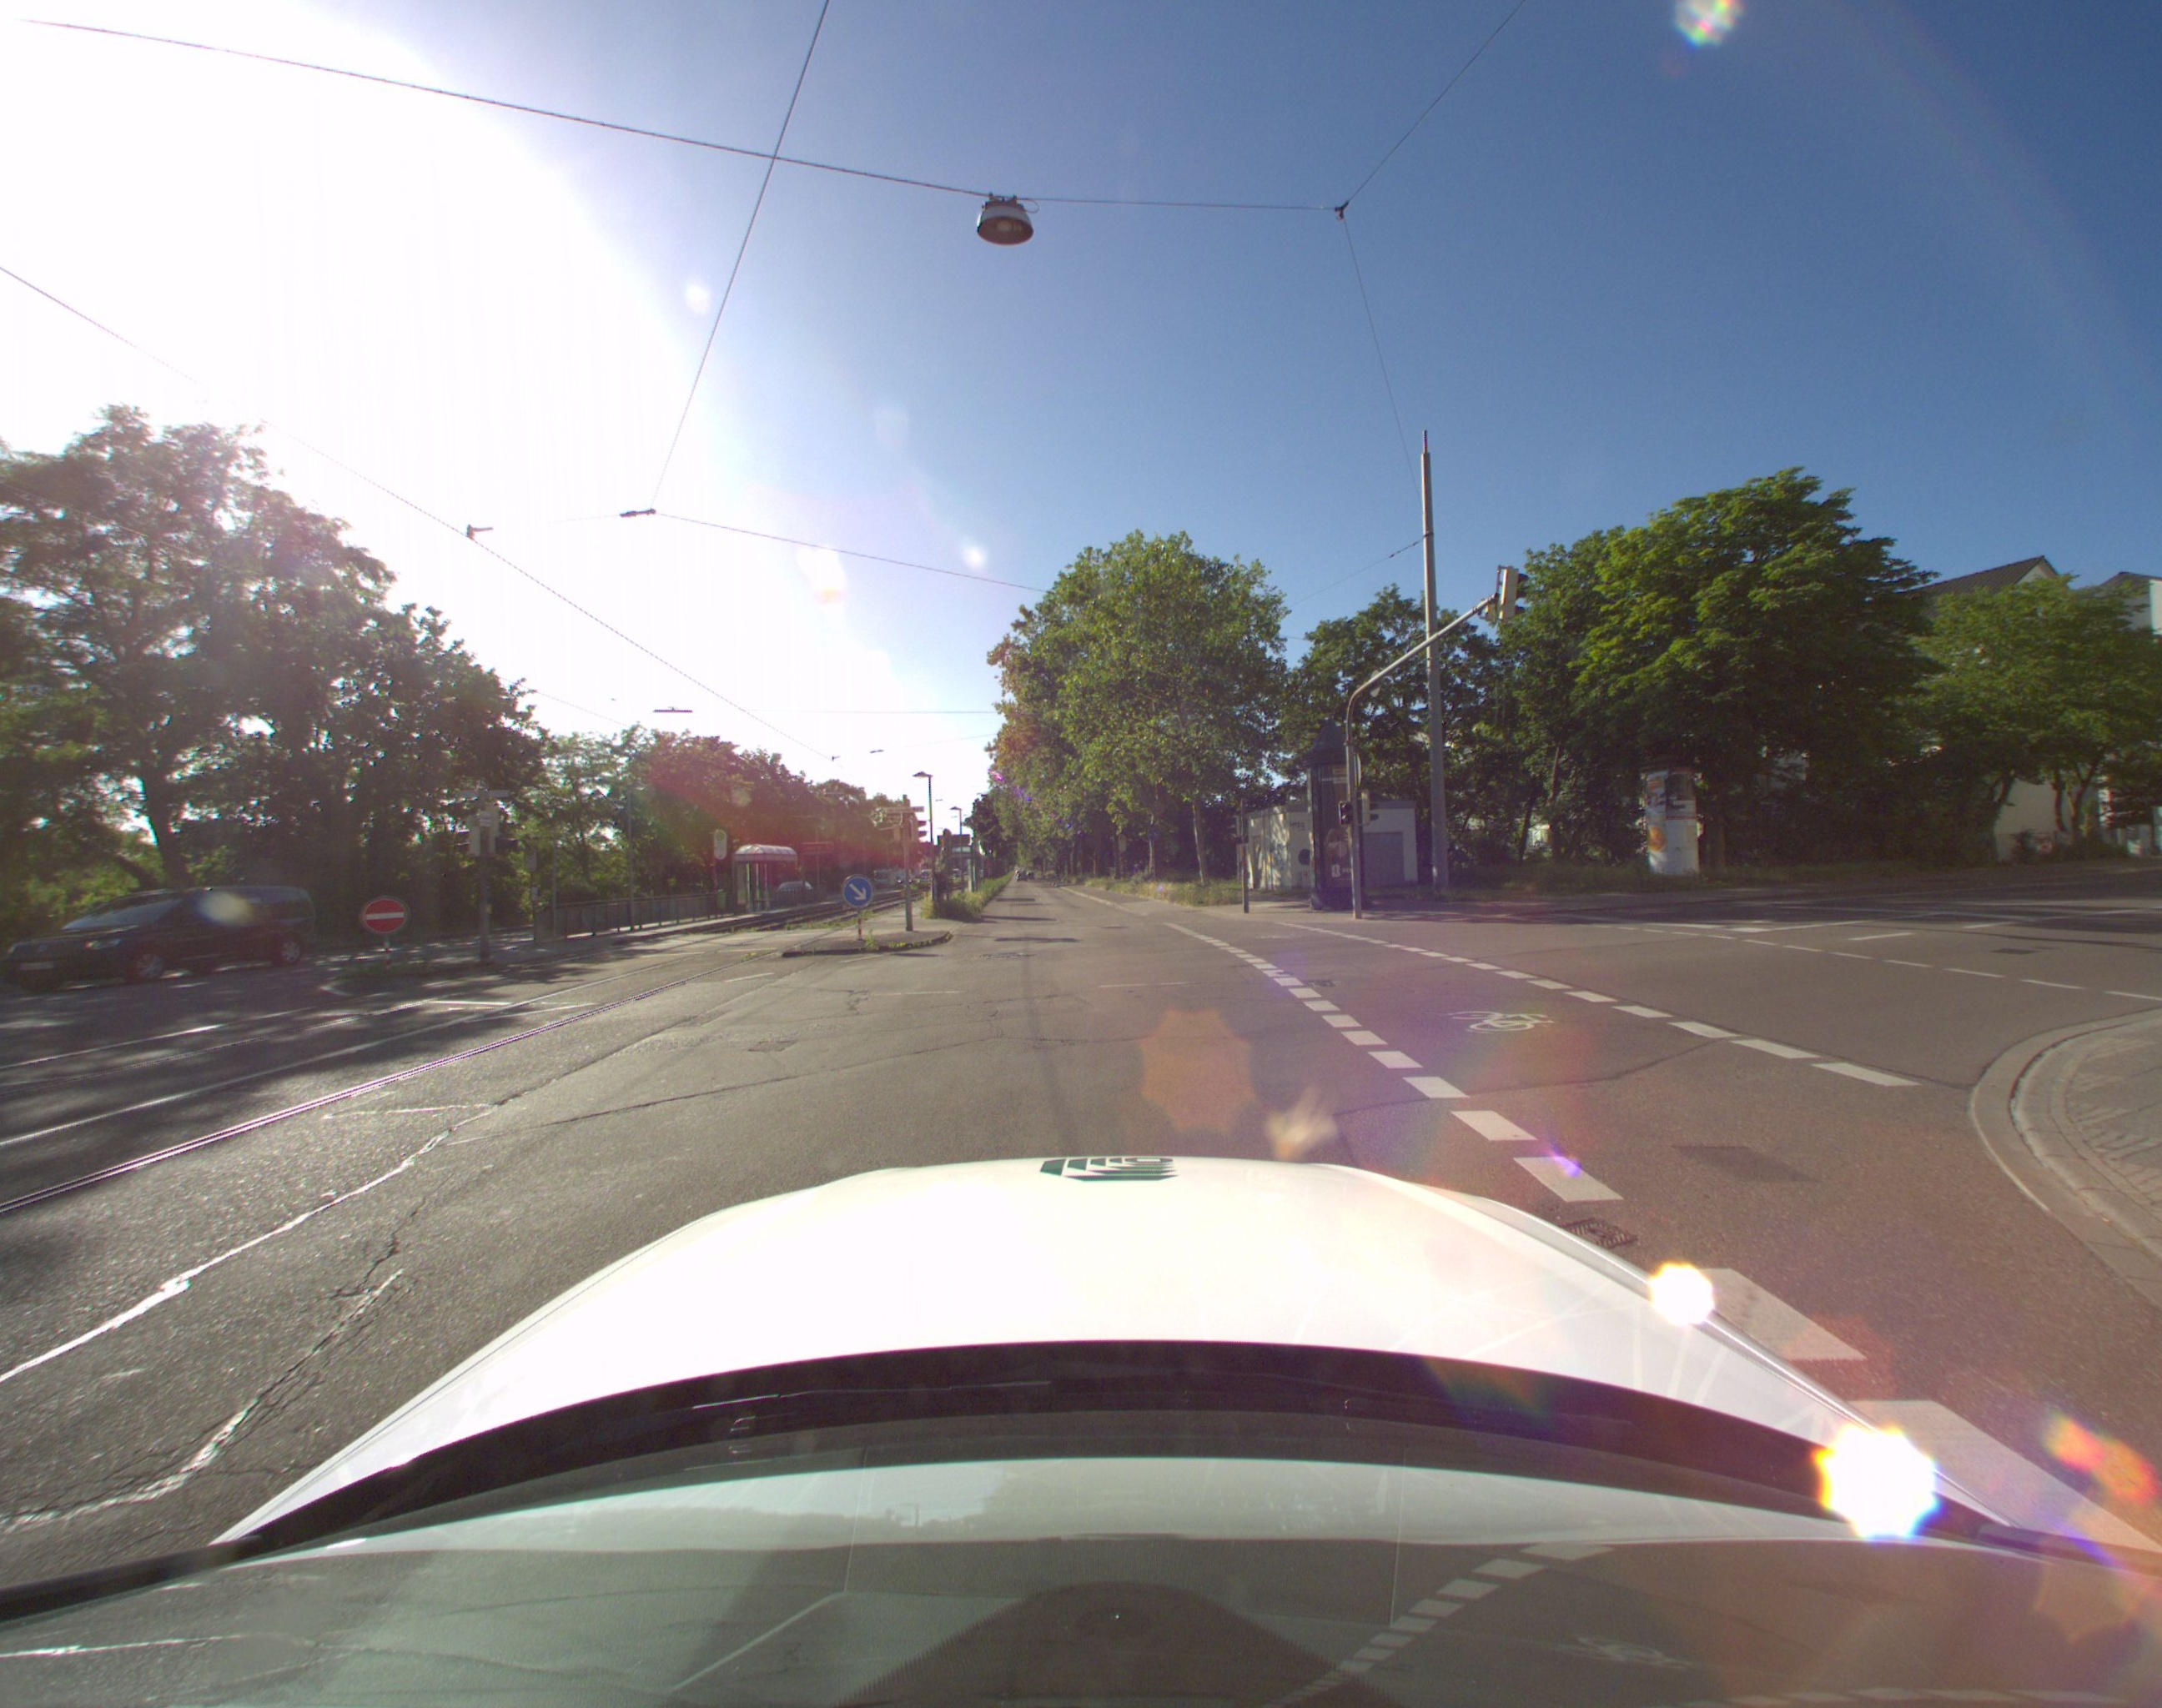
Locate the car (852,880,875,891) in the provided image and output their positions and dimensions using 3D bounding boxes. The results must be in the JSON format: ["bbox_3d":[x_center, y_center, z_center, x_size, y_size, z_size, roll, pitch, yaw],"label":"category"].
[{"bbox_3d":[-27.005,3.883,101.095,1.916,1.266,3.995,-3,-1,-3],"label":"car"}]

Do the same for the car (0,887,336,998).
[{"bbox_3d":[-17.970,1.600,16.205,1.991,1.767,5.021,-2,-2,-5],"label":"car"}]

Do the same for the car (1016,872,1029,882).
[{"bbox_3d":[-9.065,3.614,126.225,1.864,1.486,3.549,-2,-1,-4],"label":"car"}]

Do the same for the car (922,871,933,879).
[{"bbox_3d":[-32.004,4.316,170.012,1.740,1.496,3.587,-3,-1,-3],"label":"car"}]

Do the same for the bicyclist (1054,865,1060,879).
[{"bbox_3d":[-2.974,2.212,101.124,0.533,1.770,0.711,-2,-1,-7],"label":"bicyclist"}]

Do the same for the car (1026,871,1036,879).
[{"bbox_3d":[-9.820,4.115,159.615,1.747,1.604,3.744,-1,-1,-4],"label":"car"}]

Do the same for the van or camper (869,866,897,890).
[{"bbox_3d":[-27.584,3.296,113.740,2.585,3.106,6.776,-2,-1,-5],"label":"van or camper"}]

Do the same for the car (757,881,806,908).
[{"bbox_3d":[-18.575,2.483,50.671,1.802,1.466,3.992,-2,-1,-5],"label":"car"}]

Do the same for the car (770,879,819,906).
[{"bbox_3d":[-18.846,2.521,53.704,1.916,1.567,3.995,-3,-1,-3],"label":"car"}]

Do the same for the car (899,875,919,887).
[{"bbox_3d":[-22.714,3.595,107.642,1.991,1.469,4.367,-2,-1,-6],"label":"car"}]

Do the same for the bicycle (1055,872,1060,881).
[{"bbox_3d":[-2.941,2.803,101.096,0.535,1.066,1.430,-2,-1,-6],"label":"bicycle"}]
